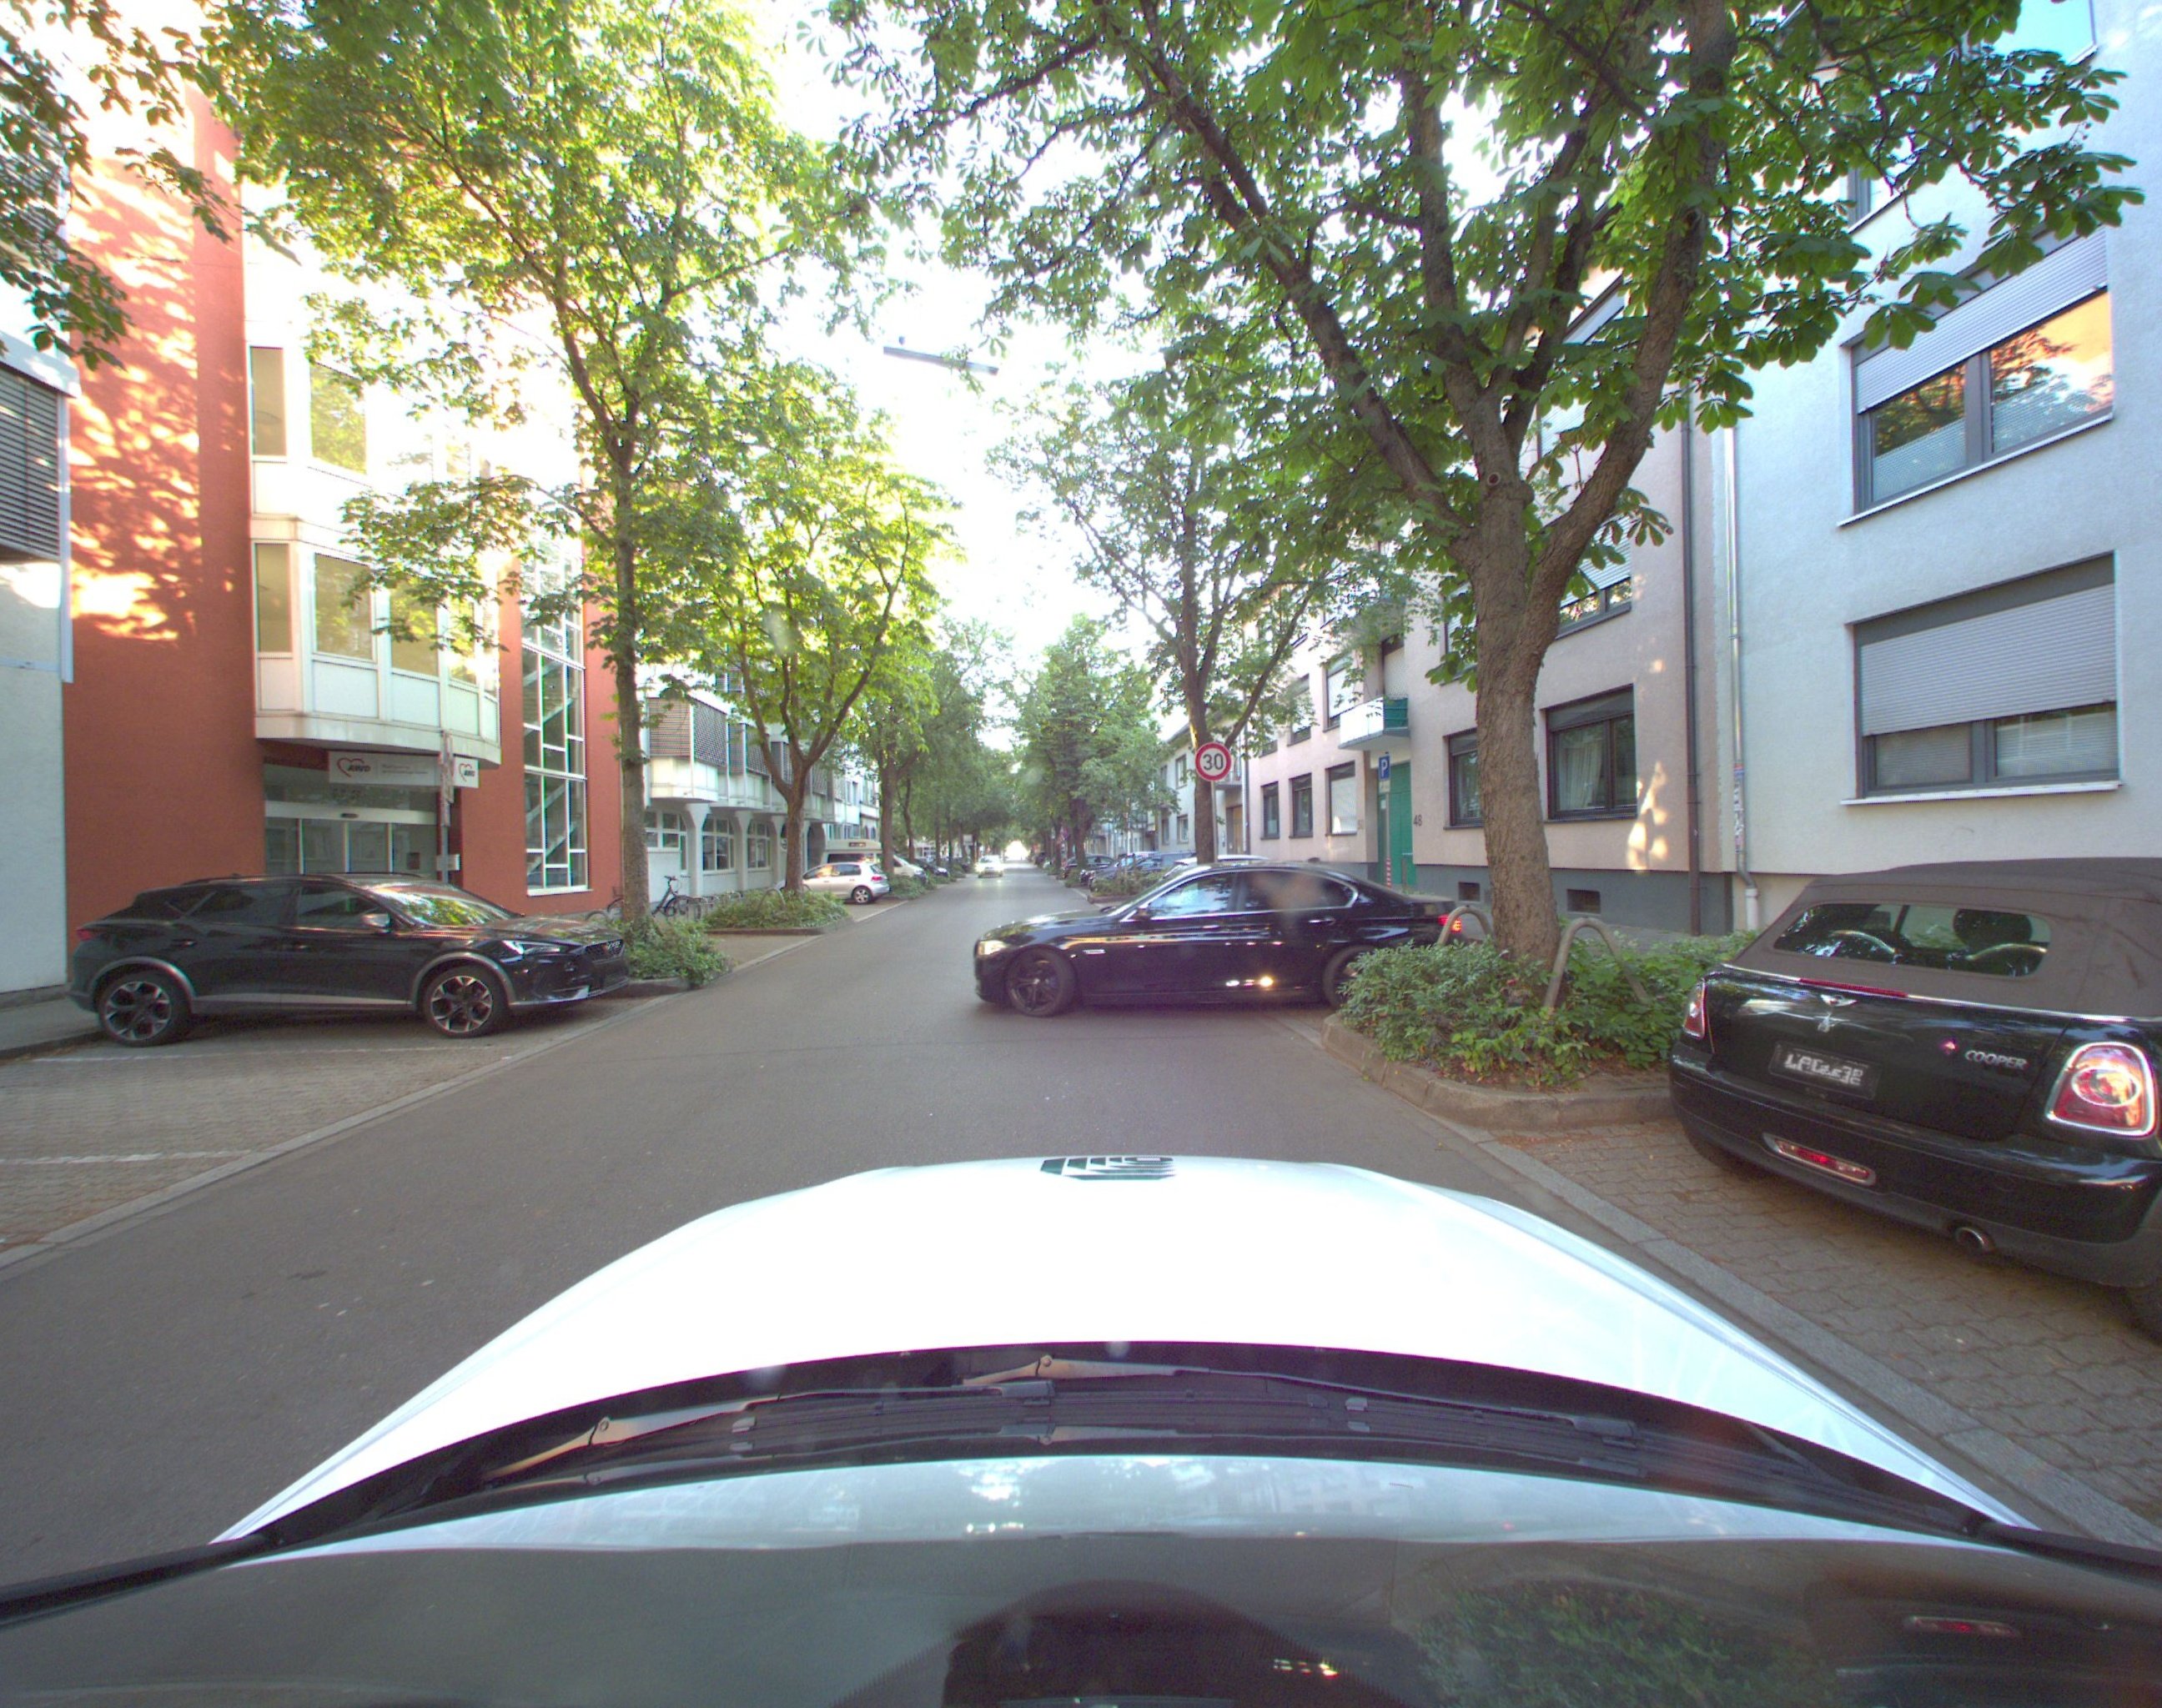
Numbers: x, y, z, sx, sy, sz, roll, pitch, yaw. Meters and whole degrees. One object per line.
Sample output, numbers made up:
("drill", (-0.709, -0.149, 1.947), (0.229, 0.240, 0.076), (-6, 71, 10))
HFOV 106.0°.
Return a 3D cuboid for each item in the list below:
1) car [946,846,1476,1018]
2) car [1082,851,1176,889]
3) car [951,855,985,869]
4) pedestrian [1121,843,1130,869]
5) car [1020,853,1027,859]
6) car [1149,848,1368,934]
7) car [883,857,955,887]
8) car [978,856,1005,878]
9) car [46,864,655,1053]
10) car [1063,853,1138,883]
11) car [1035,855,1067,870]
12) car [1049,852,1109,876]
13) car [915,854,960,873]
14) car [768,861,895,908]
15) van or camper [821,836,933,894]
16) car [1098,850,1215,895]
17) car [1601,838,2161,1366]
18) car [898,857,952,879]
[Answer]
("car", (1.204, 0.724, 8.275), (4.721, 1.480, 1.803), (-1, 0, 5))
("car", (2.085, 0.676, 36.238), (3.962, 1.527, 1.782), (-2, 0, -5))
("car", (-14.227, 1.054, 102.763), (3.959, 1.619, 1.783), (-2, 0, -4))
("pedestrian", (3.532, 0.140, 64.994), (0.587, 2.013, 0.669), (-2, 0, -3))
("car", (-14.977, 0.580, 211.730), (1.819, 1.530, 3.995), (-2, 0, -4))
("car", (3.436, 0.680, 16.114), (3.904, 1.476, 1.661), (-2, 0, -7))
("car", (-9.584, 1.056, 48.419), (3.960, 1.619, 1.783), (-2, 0, -4))
("car", (-6.692, 0.961, 60.946), (1.775, 1.562, 4.162), (-1, 0, -4))
("car", (-7.018, 0.933, 8.270), (4.347, 1.517, 1.782), (-2, 0, -5))
("car", (1.027, 0.755, 45.080), (3.962, 1.527, 1.782), (-2, 0, -5))
("car", (-3.709, 1.080, 101.050), (3.959, 1.684, 1.783), (-2, 0, -4))
("car", (-0.163, 0.674, 56.984), (3.963, 1.527, 1.781), (-2, 0, -6))
("car", (-13.459, 0.884, 76.620), (3.959, 1.619, 1.783), (-2, 0, -4))
("car", (-8.840, 1.057, 29.082), (3.960, 1.517, 1.783), (-2, 0, -4))
("van or camper", (-9.284, 0.494, 37.415), (4.656, 2.478, 1.997), (-1, 0, -5))
("car", (2.703, 0.640, 29.744), (3.963, 1.476, 1.781), (-2, 0, -7))
("car", (4.351, 0.635, 3.264), (3.608, 1.363, 1.660), (-2, 0, -8))
("car", (-12.385, 1.084, 64.965), (3.959, 1.619, 1.783), (-2, 0, -4))
